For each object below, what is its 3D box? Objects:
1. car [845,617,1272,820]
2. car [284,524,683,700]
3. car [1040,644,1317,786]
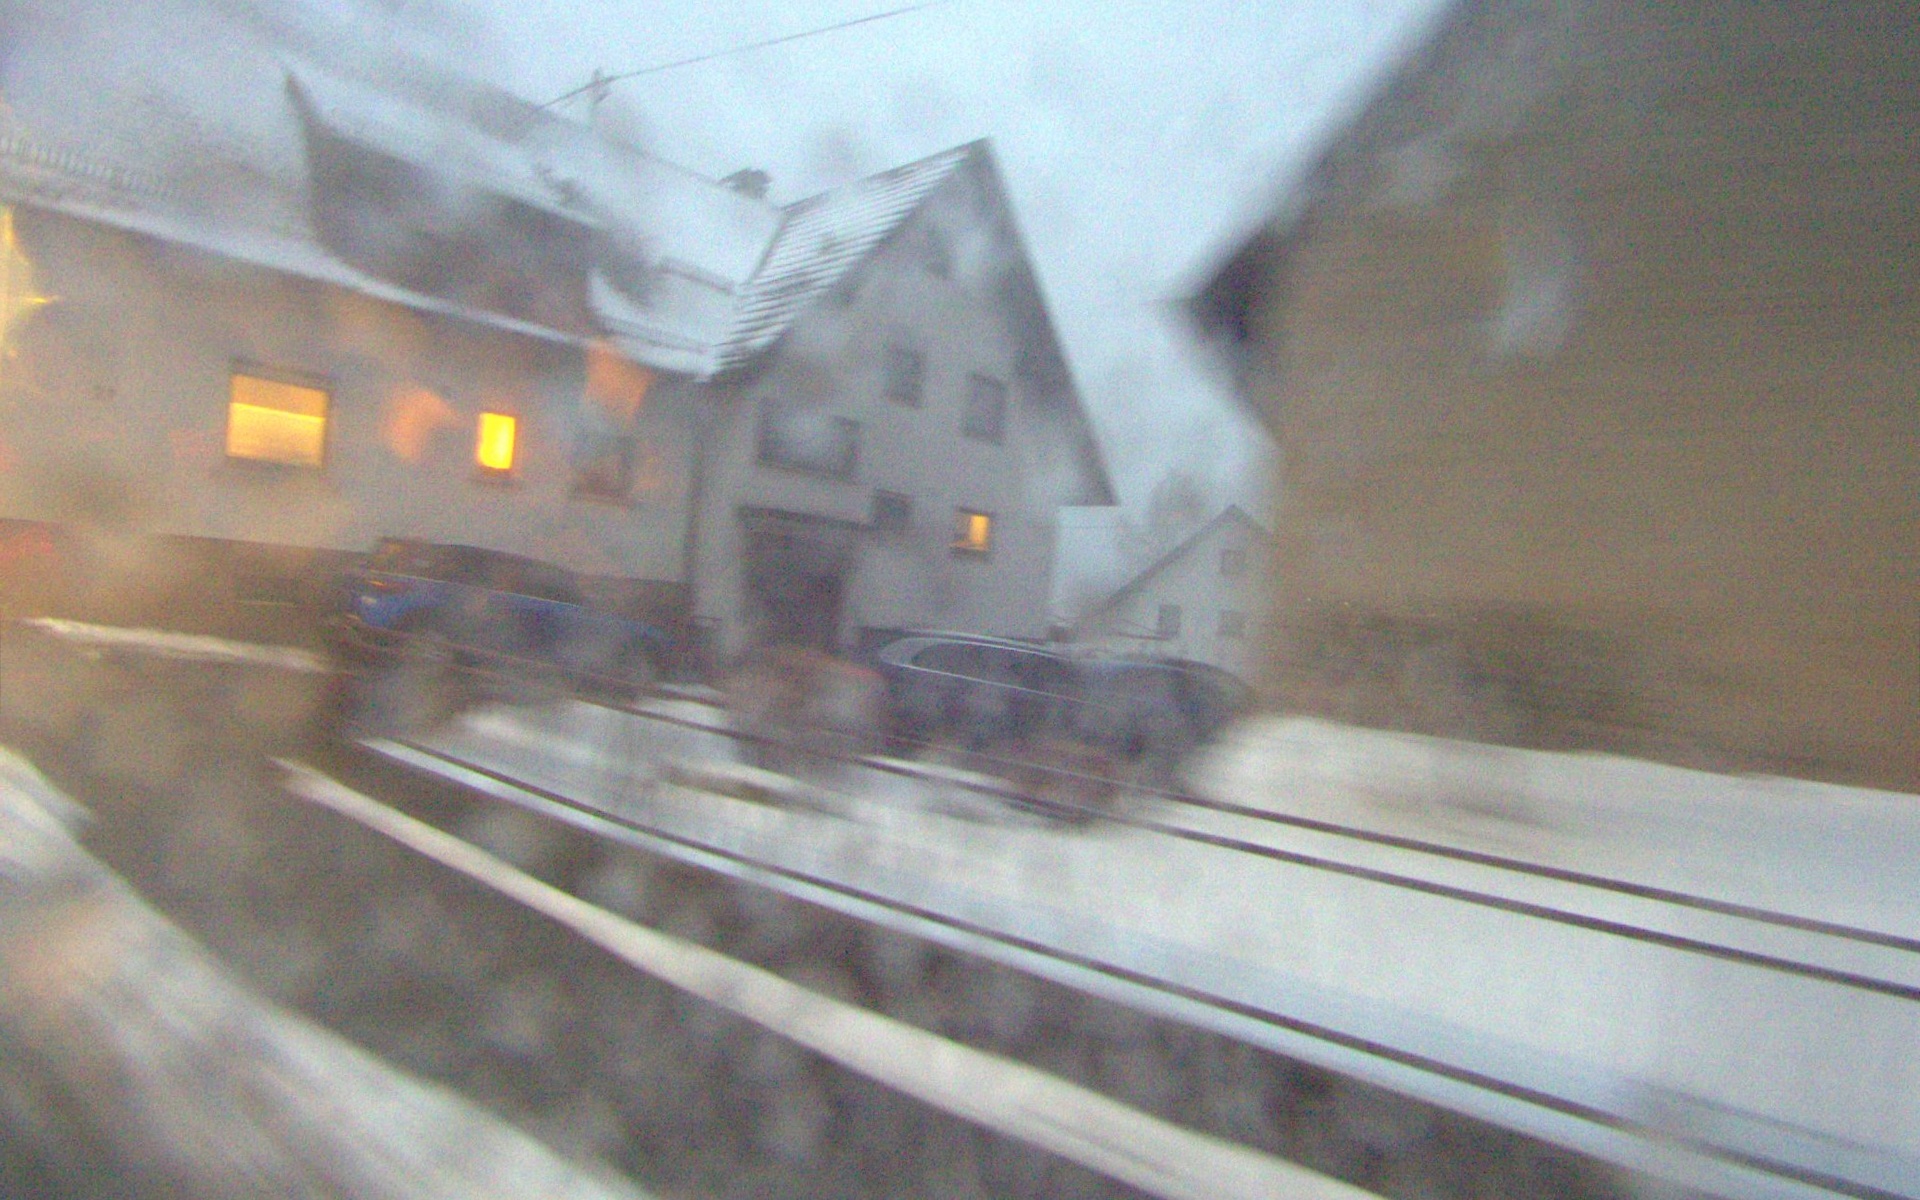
[{"bbox_3d":[0.975,1.205,10.524,3.943,1.388,1.753,10,-3,-16],"label":"car"},{"bbox_3d":[-5.795,0.230,12.630,1.883,1.614,3.987,6,-3,40],"label":"car"},{"bbox_3d":[3.070,1.616,14.353,3.342,1.374,1.675,10,-3,-16],"label":"car"}]
